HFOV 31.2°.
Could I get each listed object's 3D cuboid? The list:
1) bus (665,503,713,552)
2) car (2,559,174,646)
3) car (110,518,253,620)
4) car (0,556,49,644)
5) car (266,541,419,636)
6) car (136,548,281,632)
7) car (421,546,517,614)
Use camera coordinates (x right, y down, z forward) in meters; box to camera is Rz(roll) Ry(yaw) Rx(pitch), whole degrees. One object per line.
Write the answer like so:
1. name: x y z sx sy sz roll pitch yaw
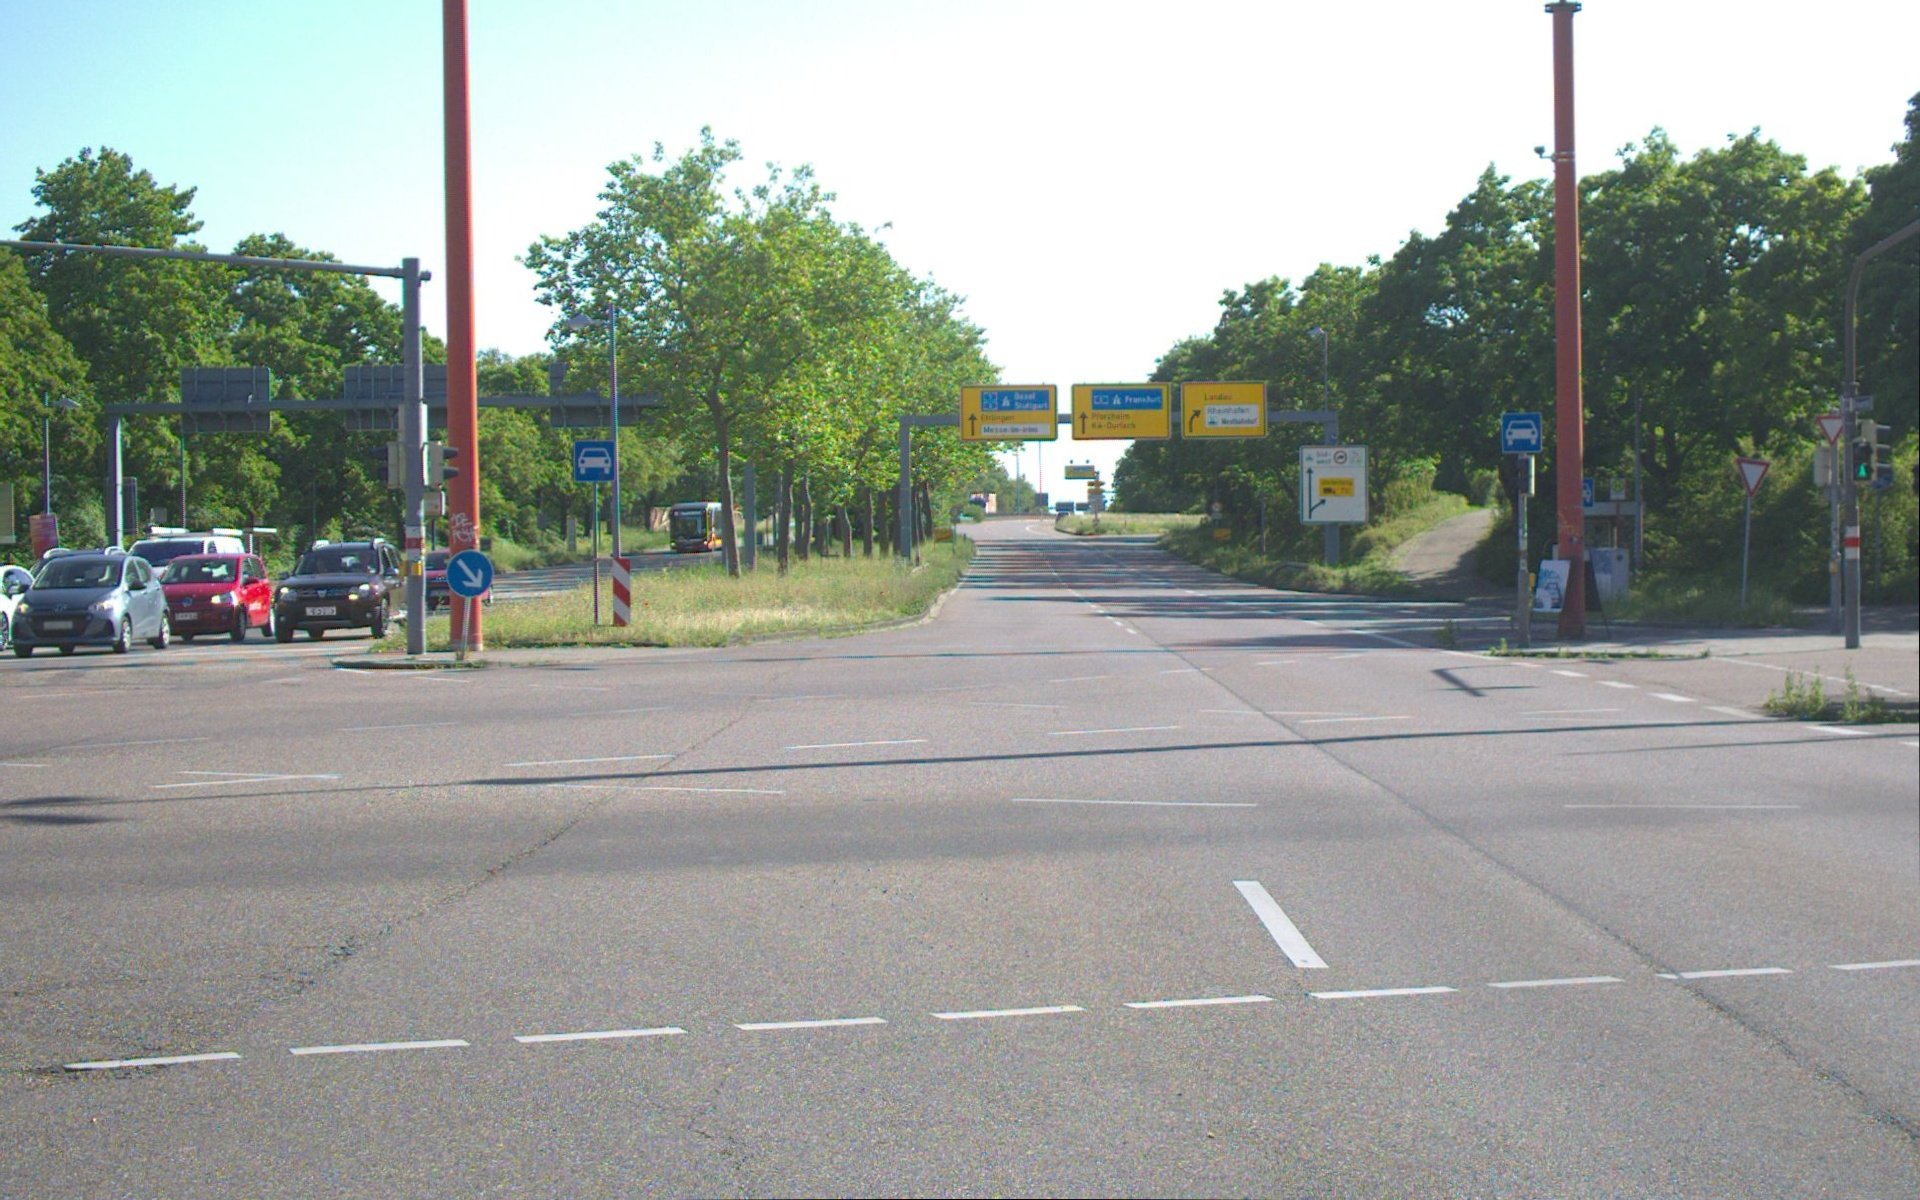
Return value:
1. bus: -18.080 -4.831 229.918 2.492 3.227 10.001 -1 1 -1
2. car: -13.117 0.016 51.903 1.739 1.239 3.613 -1 1 -1
3. car: -15.991 -0.645 70.891 1.893 2.019 5.223 0 1 -1
4. car: -16.425 -0.016 57.048 1.739 1.406 3.613 -1 1 -1
5. car: -10.147 -0.214 56.735 1.819 1.503 4.000 -1 1 -1
6. car: -12.694 -0.188 58.245 1.739 1.357 3.613 -1 1 -1
7. car: -12.089 -0.506 84.876 1.819 1.623 4.000 -1 1 -1
